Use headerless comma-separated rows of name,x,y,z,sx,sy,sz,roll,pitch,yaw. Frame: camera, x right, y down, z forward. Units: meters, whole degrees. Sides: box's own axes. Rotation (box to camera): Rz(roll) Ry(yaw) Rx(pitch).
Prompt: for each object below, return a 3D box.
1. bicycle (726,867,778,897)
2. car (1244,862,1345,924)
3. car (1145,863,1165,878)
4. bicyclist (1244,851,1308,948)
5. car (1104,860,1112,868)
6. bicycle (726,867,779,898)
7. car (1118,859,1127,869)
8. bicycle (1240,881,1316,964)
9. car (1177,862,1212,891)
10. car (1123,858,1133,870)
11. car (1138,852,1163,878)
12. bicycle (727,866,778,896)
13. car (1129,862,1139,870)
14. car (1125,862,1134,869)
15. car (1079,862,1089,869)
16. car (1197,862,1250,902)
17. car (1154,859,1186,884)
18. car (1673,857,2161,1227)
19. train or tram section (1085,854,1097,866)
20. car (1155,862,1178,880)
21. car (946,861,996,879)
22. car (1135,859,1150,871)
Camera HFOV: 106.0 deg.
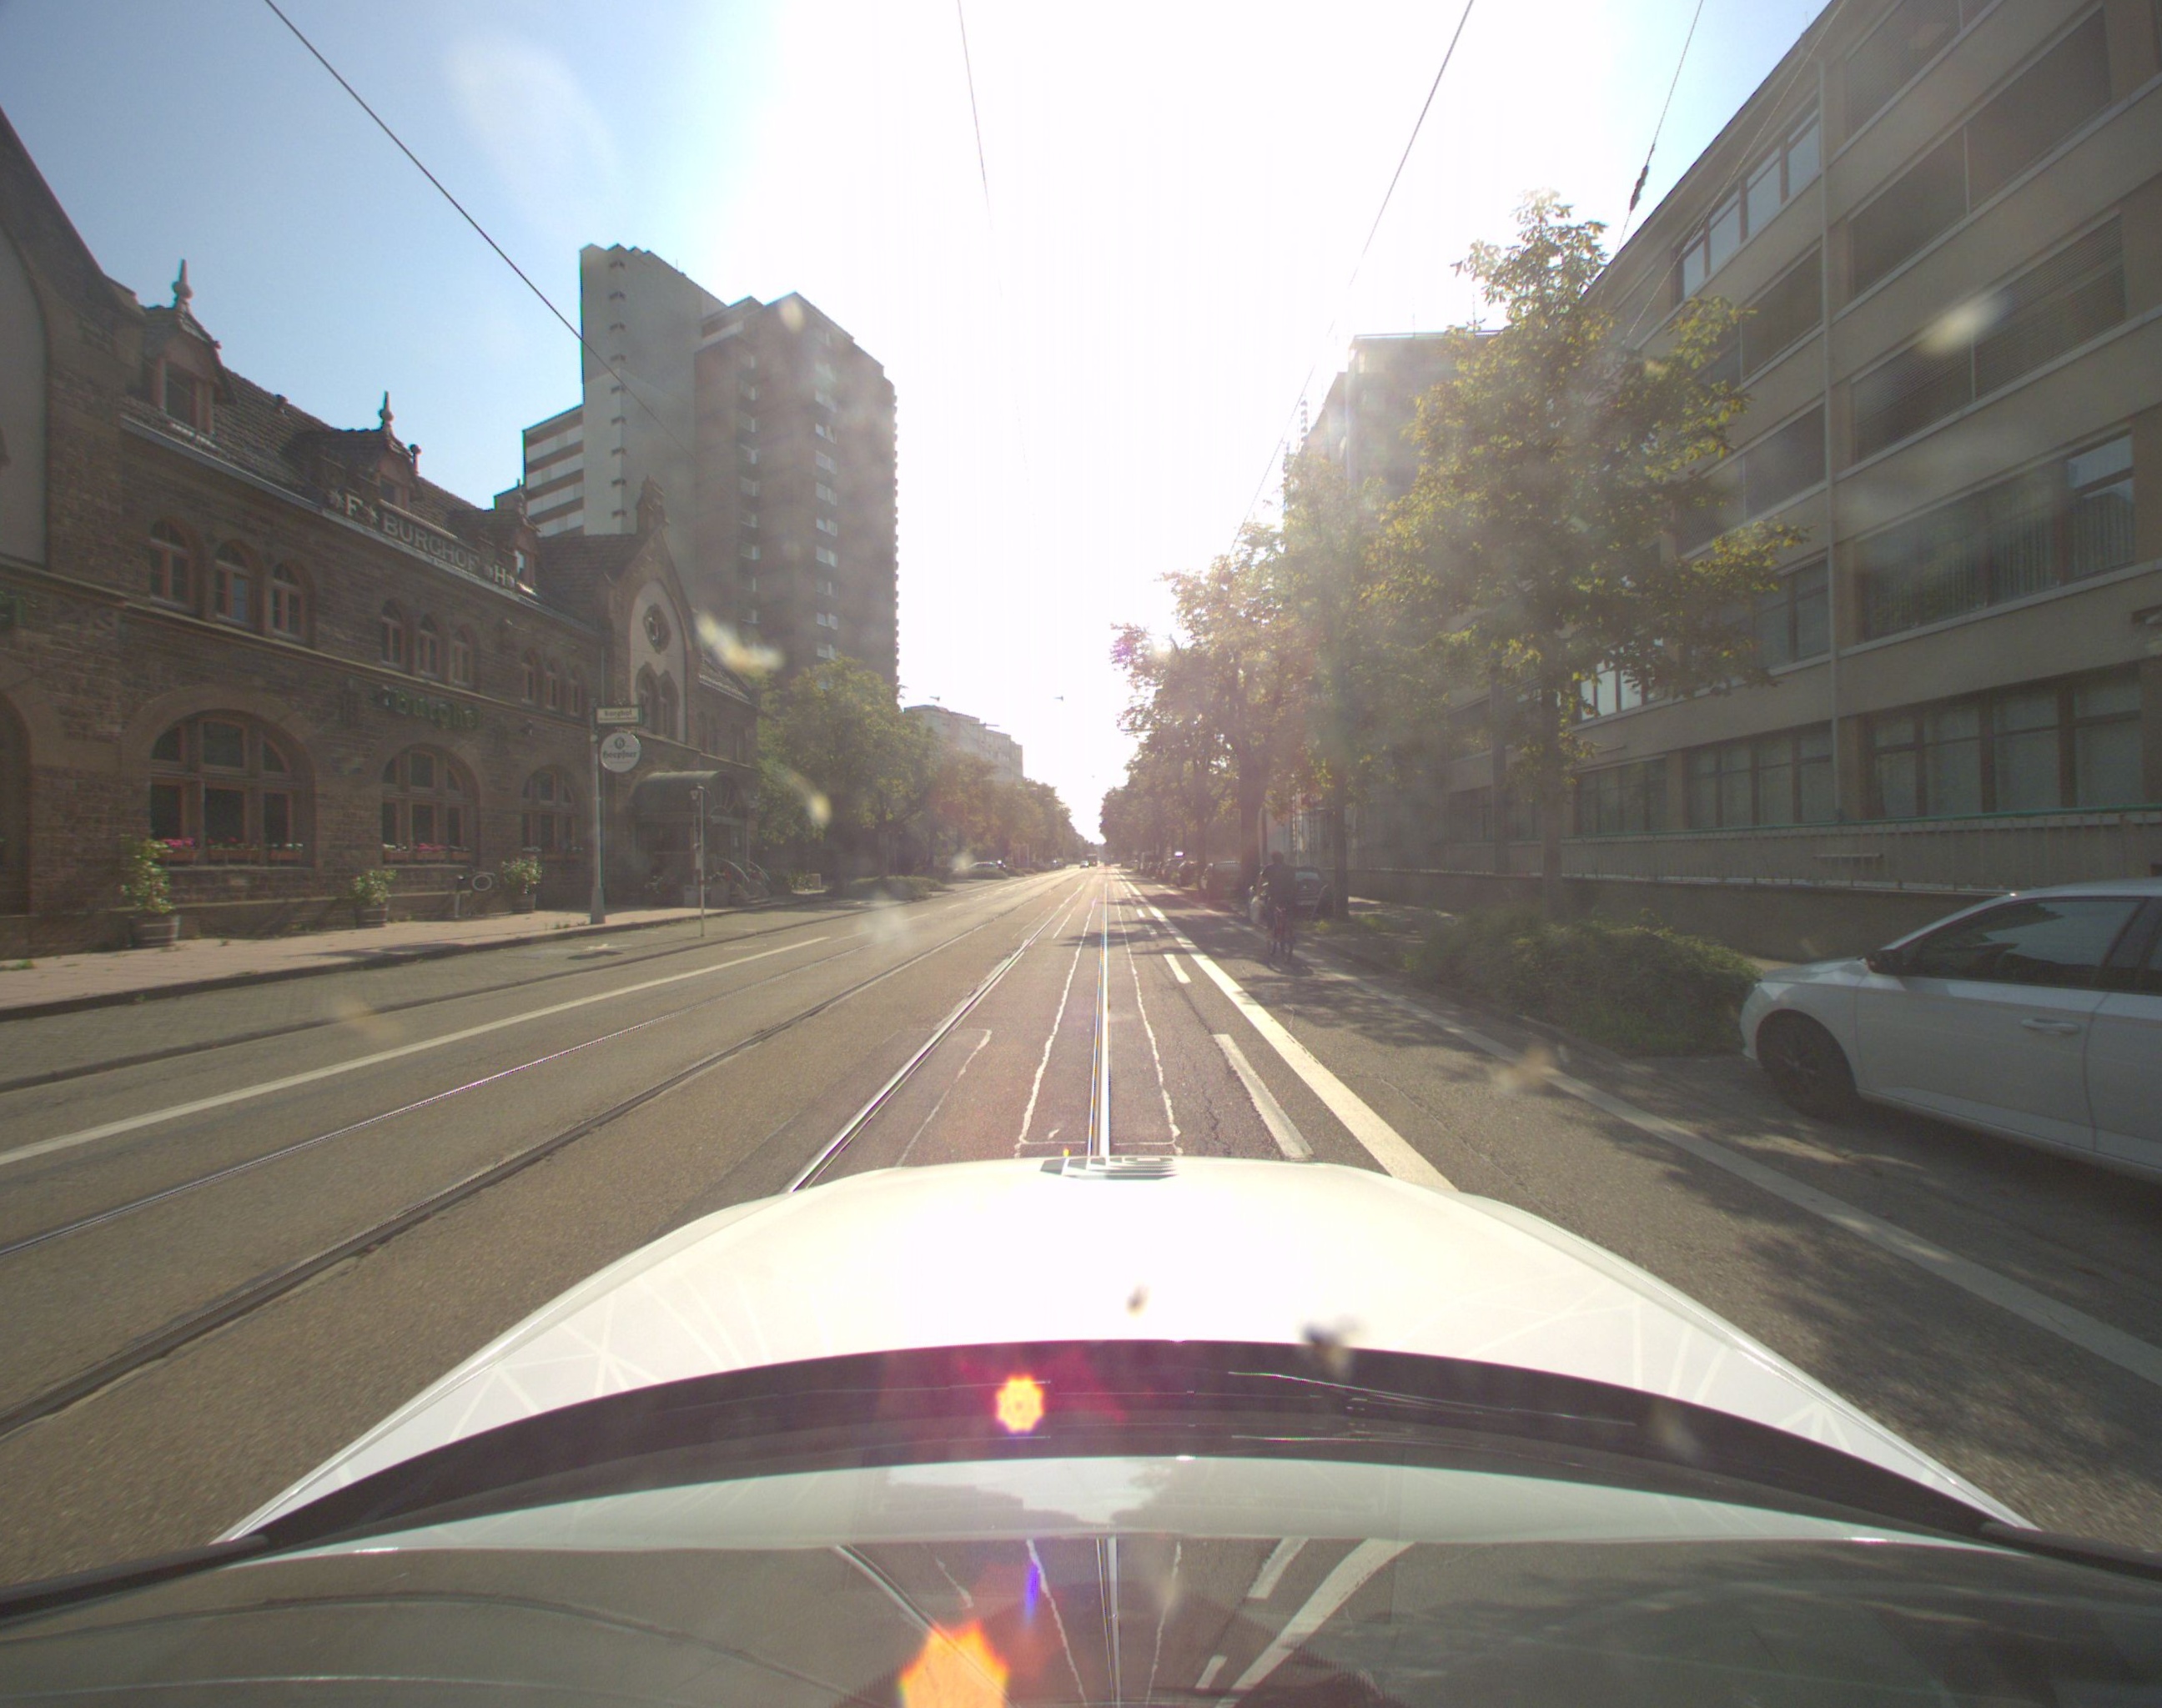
bicycle,-12.887,1.112,31.976,1.809,1.074,0.418,4,-2,-21
car,5.612,0.981,21.908,1.640,1.428,4.085,-3,-1,1
car,7.056,1.575,77.905,1.610,1.374,4.830,-2,-1,2
bicyclist,3.086,0.703,12.953,0.783,1.470,1.117,-1,-1,3
car,6.806,2.546,206.399,1.985,1.838,4.003,-1,-1,3
bicycle,-12.707,1.104,31.545,1.809,1.074,0.418,4,-2,-21
car,10.660,2.499,208.985,1.996,2.475,4.480,-2,-1,3
bicycle,3.090,1.044,13.017,0.783,1.144,2.307,-1,-1,4
car,6.477,1.243,46.637,1.570,1.485,3.740,-3,0,2
car,10.497,2.246,182.557,1.996,2.491,4.479,-1,-2,2
car,7.468,1.178,88.152,2.075,2.552,5.501,-4,-1,0
bicycle,-13.042,1.077,32.413,1.809,1.074,0.418,4,-2,-21
car,9.104,2.104,140.533,1.683,1.418,3.636,-1,-1,3
car,9.149,2.185,154.441,1.588,1.418,3.636,-1,-1,3
car,0.651,2.219,161.029,1.822,1.376,4.513,-1,-1,1
car,5.868,1.117,33.932,1.640,1.511,3.780,-3,-1,2
car,6.162,1.183,57.011,1.748,1.691,4.395,0,0,0
car,5.091,0.750,3.862,1.635,1.430,3.988,-2,-1,0
train or tram section,2.704,1.661,216.506,2.718,2.894,15.460,-1,-1,2
car,7.064,1.389,67.616,1.610,1.413,4.002,-2,-1,2
car,-9.763,1.417,72.339,4.010,1.479,1.773,0,-1,-28
car,8.107,1.453,107.217,1.747,1.377,4.721,-3,-1,2
